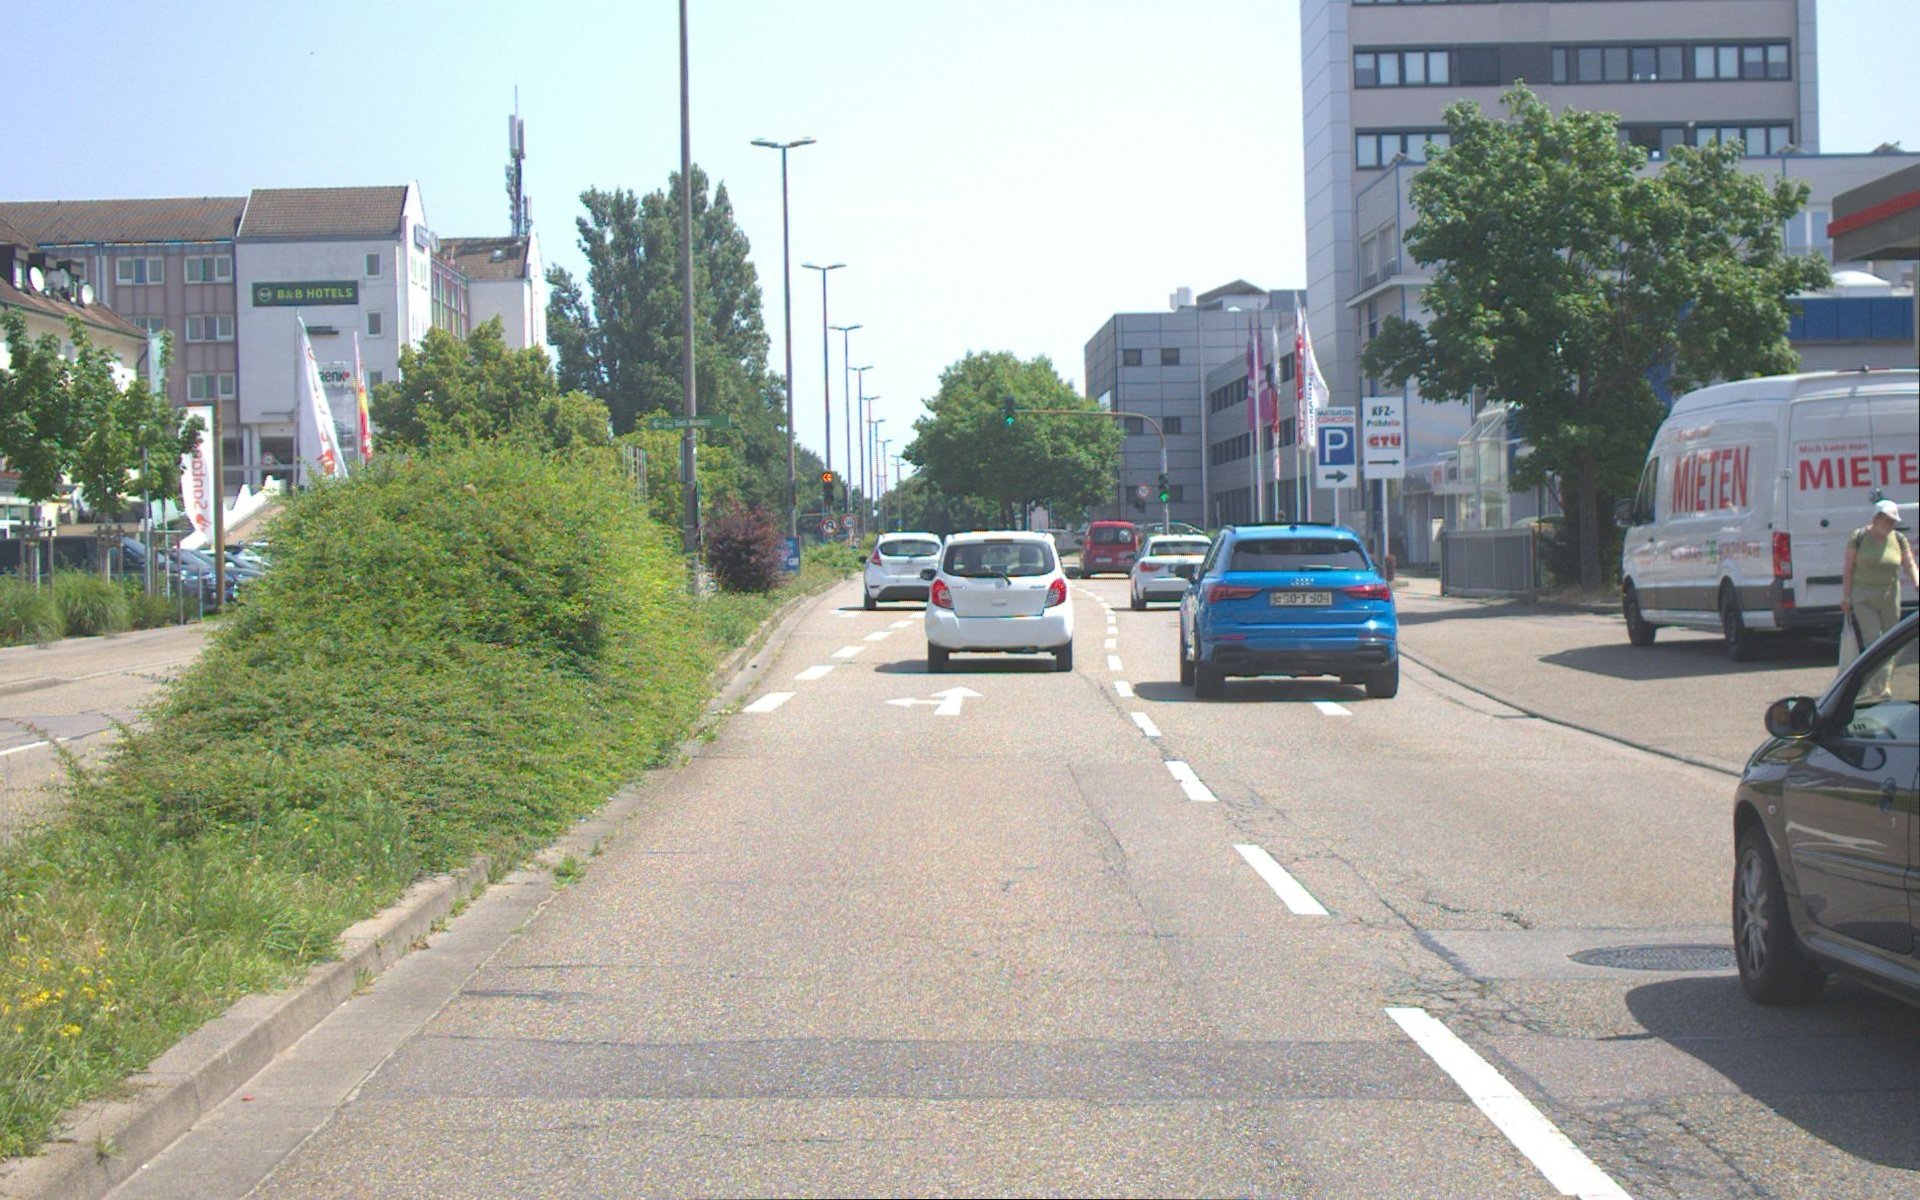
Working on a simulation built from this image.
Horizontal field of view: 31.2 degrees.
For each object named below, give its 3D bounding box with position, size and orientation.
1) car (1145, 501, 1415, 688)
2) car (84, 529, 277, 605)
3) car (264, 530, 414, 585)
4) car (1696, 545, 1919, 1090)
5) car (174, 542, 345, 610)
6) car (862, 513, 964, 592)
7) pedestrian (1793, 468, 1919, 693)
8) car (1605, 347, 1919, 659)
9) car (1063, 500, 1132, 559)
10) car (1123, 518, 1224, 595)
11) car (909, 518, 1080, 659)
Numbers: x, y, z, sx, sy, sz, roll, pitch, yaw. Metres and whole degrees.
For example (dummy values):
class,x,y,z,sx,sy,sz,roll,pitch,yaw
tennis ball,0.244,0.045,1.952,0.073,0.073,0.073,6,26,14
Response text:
class,x,y,z,sx,sy,sz,roll,pitch,yaw
car,2.939,-0.111,32.502,1.913,1.591,4.396,0,2,-3
car,-17.615,-0.727,77.801,3.986,1.659,1.889,0,-1,-3
car,-18.056,-1.240,100.077,3.987,1.547,1.865,0,-1,2
car,3.302,0.559,9.696,1.600,1.420,3.661,0,1,-1
car,-17.641,-0.596,86.727,3.986,1.678,2.000,0,-1,-3
car,-0.865,-0.883,65.653,1.830,1.445,4.000,0,0,1
pedestrian,7.403,-0.170,28.145,0.815,1.742,0.703,-6,1,-1
car,8.464,-0.979,35.307,2.133,2.830,7.310,-2,1,-1
car,4.257,-2.176,106.624,1.794,1.723,3.973,0,0,-3
car,4.001,-0.831,64.912,1.667,1.394,3.793,-1,1,0
car,0.345,-0.138,38.450,1.712,1.505,3.247,0,1,-3
